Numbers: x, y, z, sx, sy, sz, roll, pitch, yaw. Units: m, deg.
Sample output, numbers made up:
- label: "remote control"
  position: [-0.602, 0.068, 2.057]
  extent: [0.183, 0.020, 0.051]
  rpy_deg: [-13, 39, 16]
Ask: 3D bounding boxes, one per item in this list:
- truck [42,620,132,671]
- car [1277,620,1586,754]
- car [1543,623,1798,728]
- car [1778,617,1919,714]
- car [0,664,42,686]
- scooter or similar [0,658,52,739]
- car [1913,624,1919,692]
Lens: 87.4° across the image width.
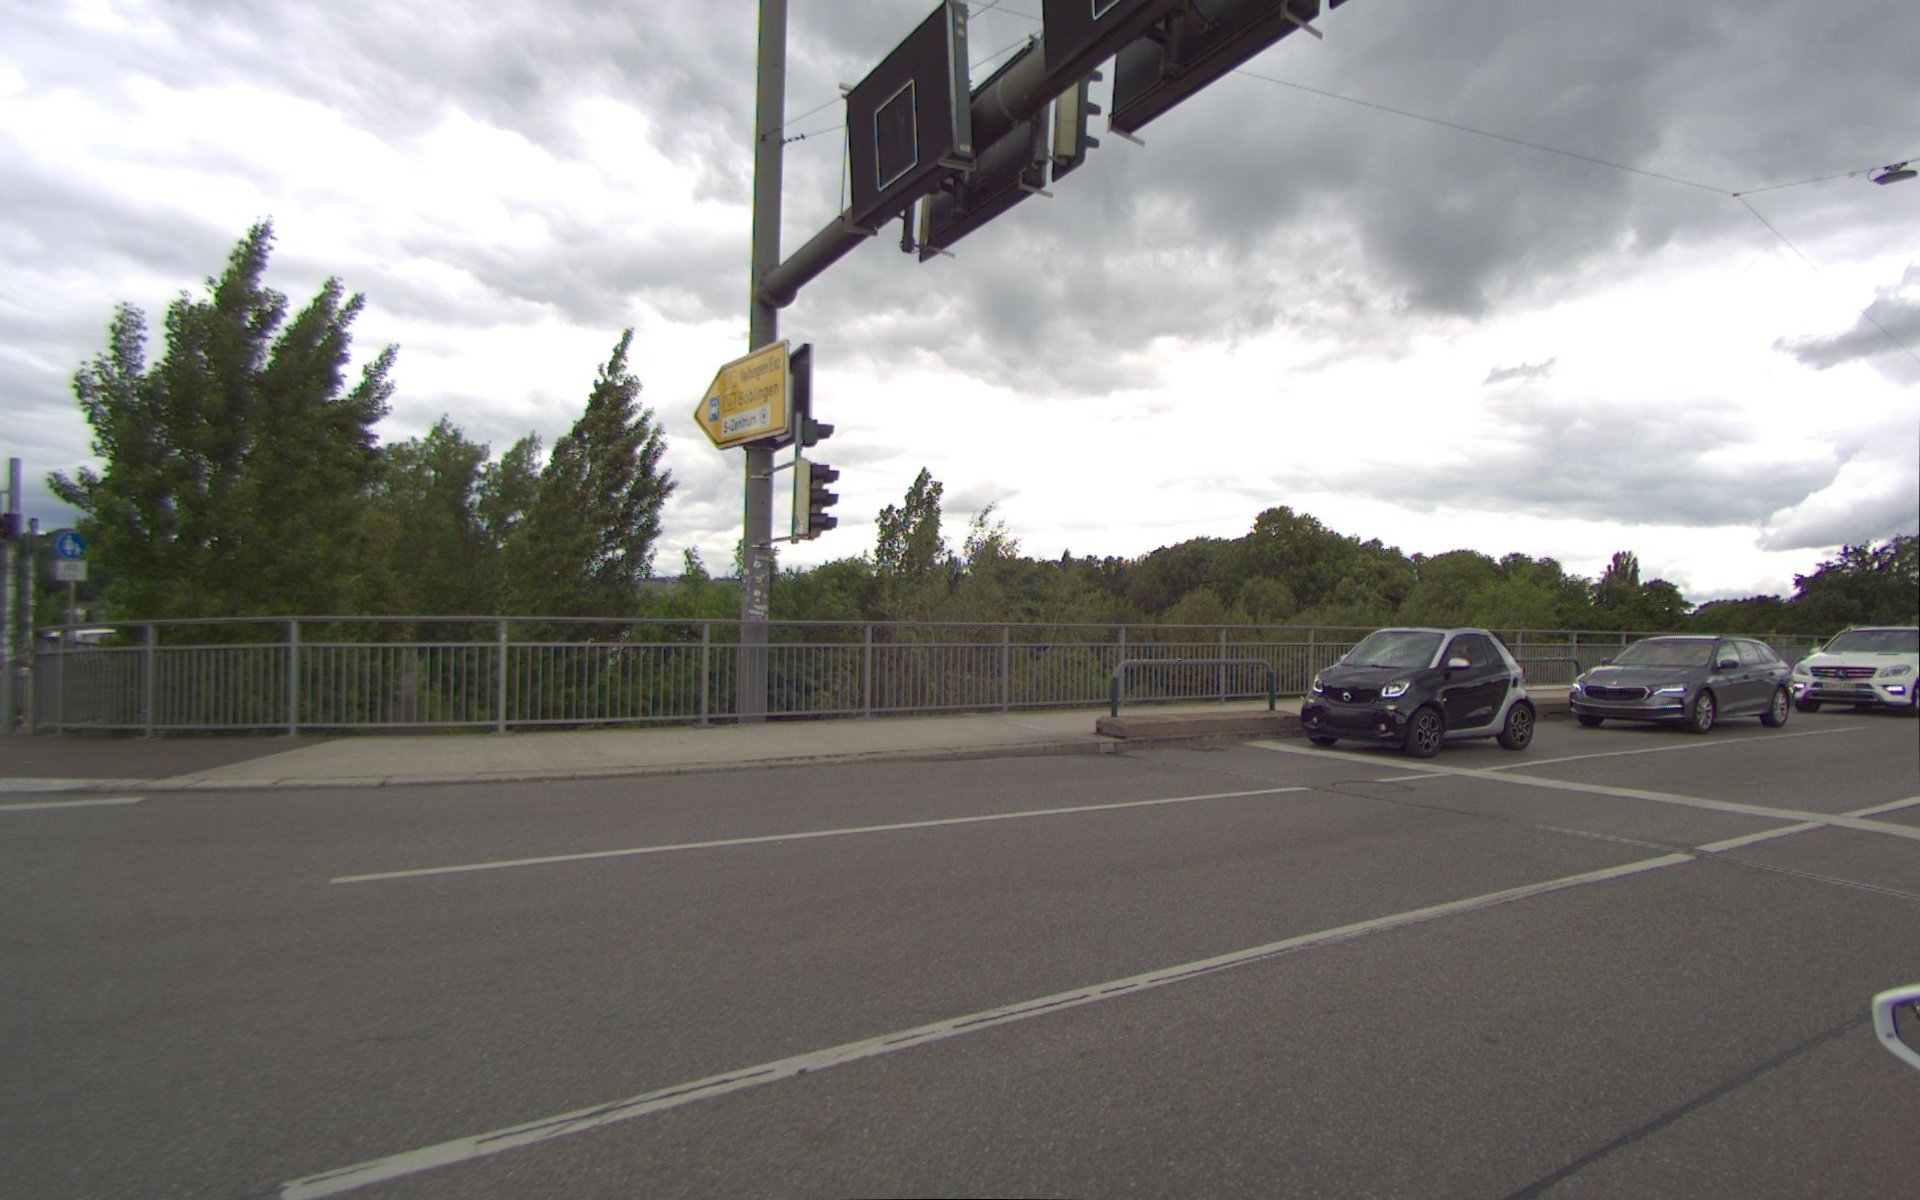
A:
- label: "truck"
  position: [-94.165, 4.734, 108.662]
  extent: [3.333, 5.020, 13.854]
  rpy_deg: [1, -1, -24]
- label: "car"
  position: [6.236, 1.061, 13.245]
  extent: [3.824, 1.524, 1.827]
  rpy_deg: [2, -2, -29]
- label: "car"
  position: [11.695, 1.166, 16.467]
  extent: [4.466, 1.524, 1.826]
  rpy_deg: [2, -2, -32]
- label: "car"
  position: [18.877, 1.282, 20.547]
  extent: [4.748, 1.784, 1.870]
  rpy_deg: [2, -2, -32]
- label: "car"
  position: [-83.672, 6.657, 89.301]
  extent: [1.888, 1.739, 3.618]
  rpy_deg: [4, -4, -24]
- label: "scooter or similar"
  position: [-13.129, 1.353, 14.078]
  extent: [0.480, 1.070, 1.321]
  rpy_deg: [1, -3, -38]
- label: "car"
  position: [25.295, 1.430, 24.609]
  extent: [3.970, 1.624, 1.870]
  rpy_deg: [2, -2, -32]
